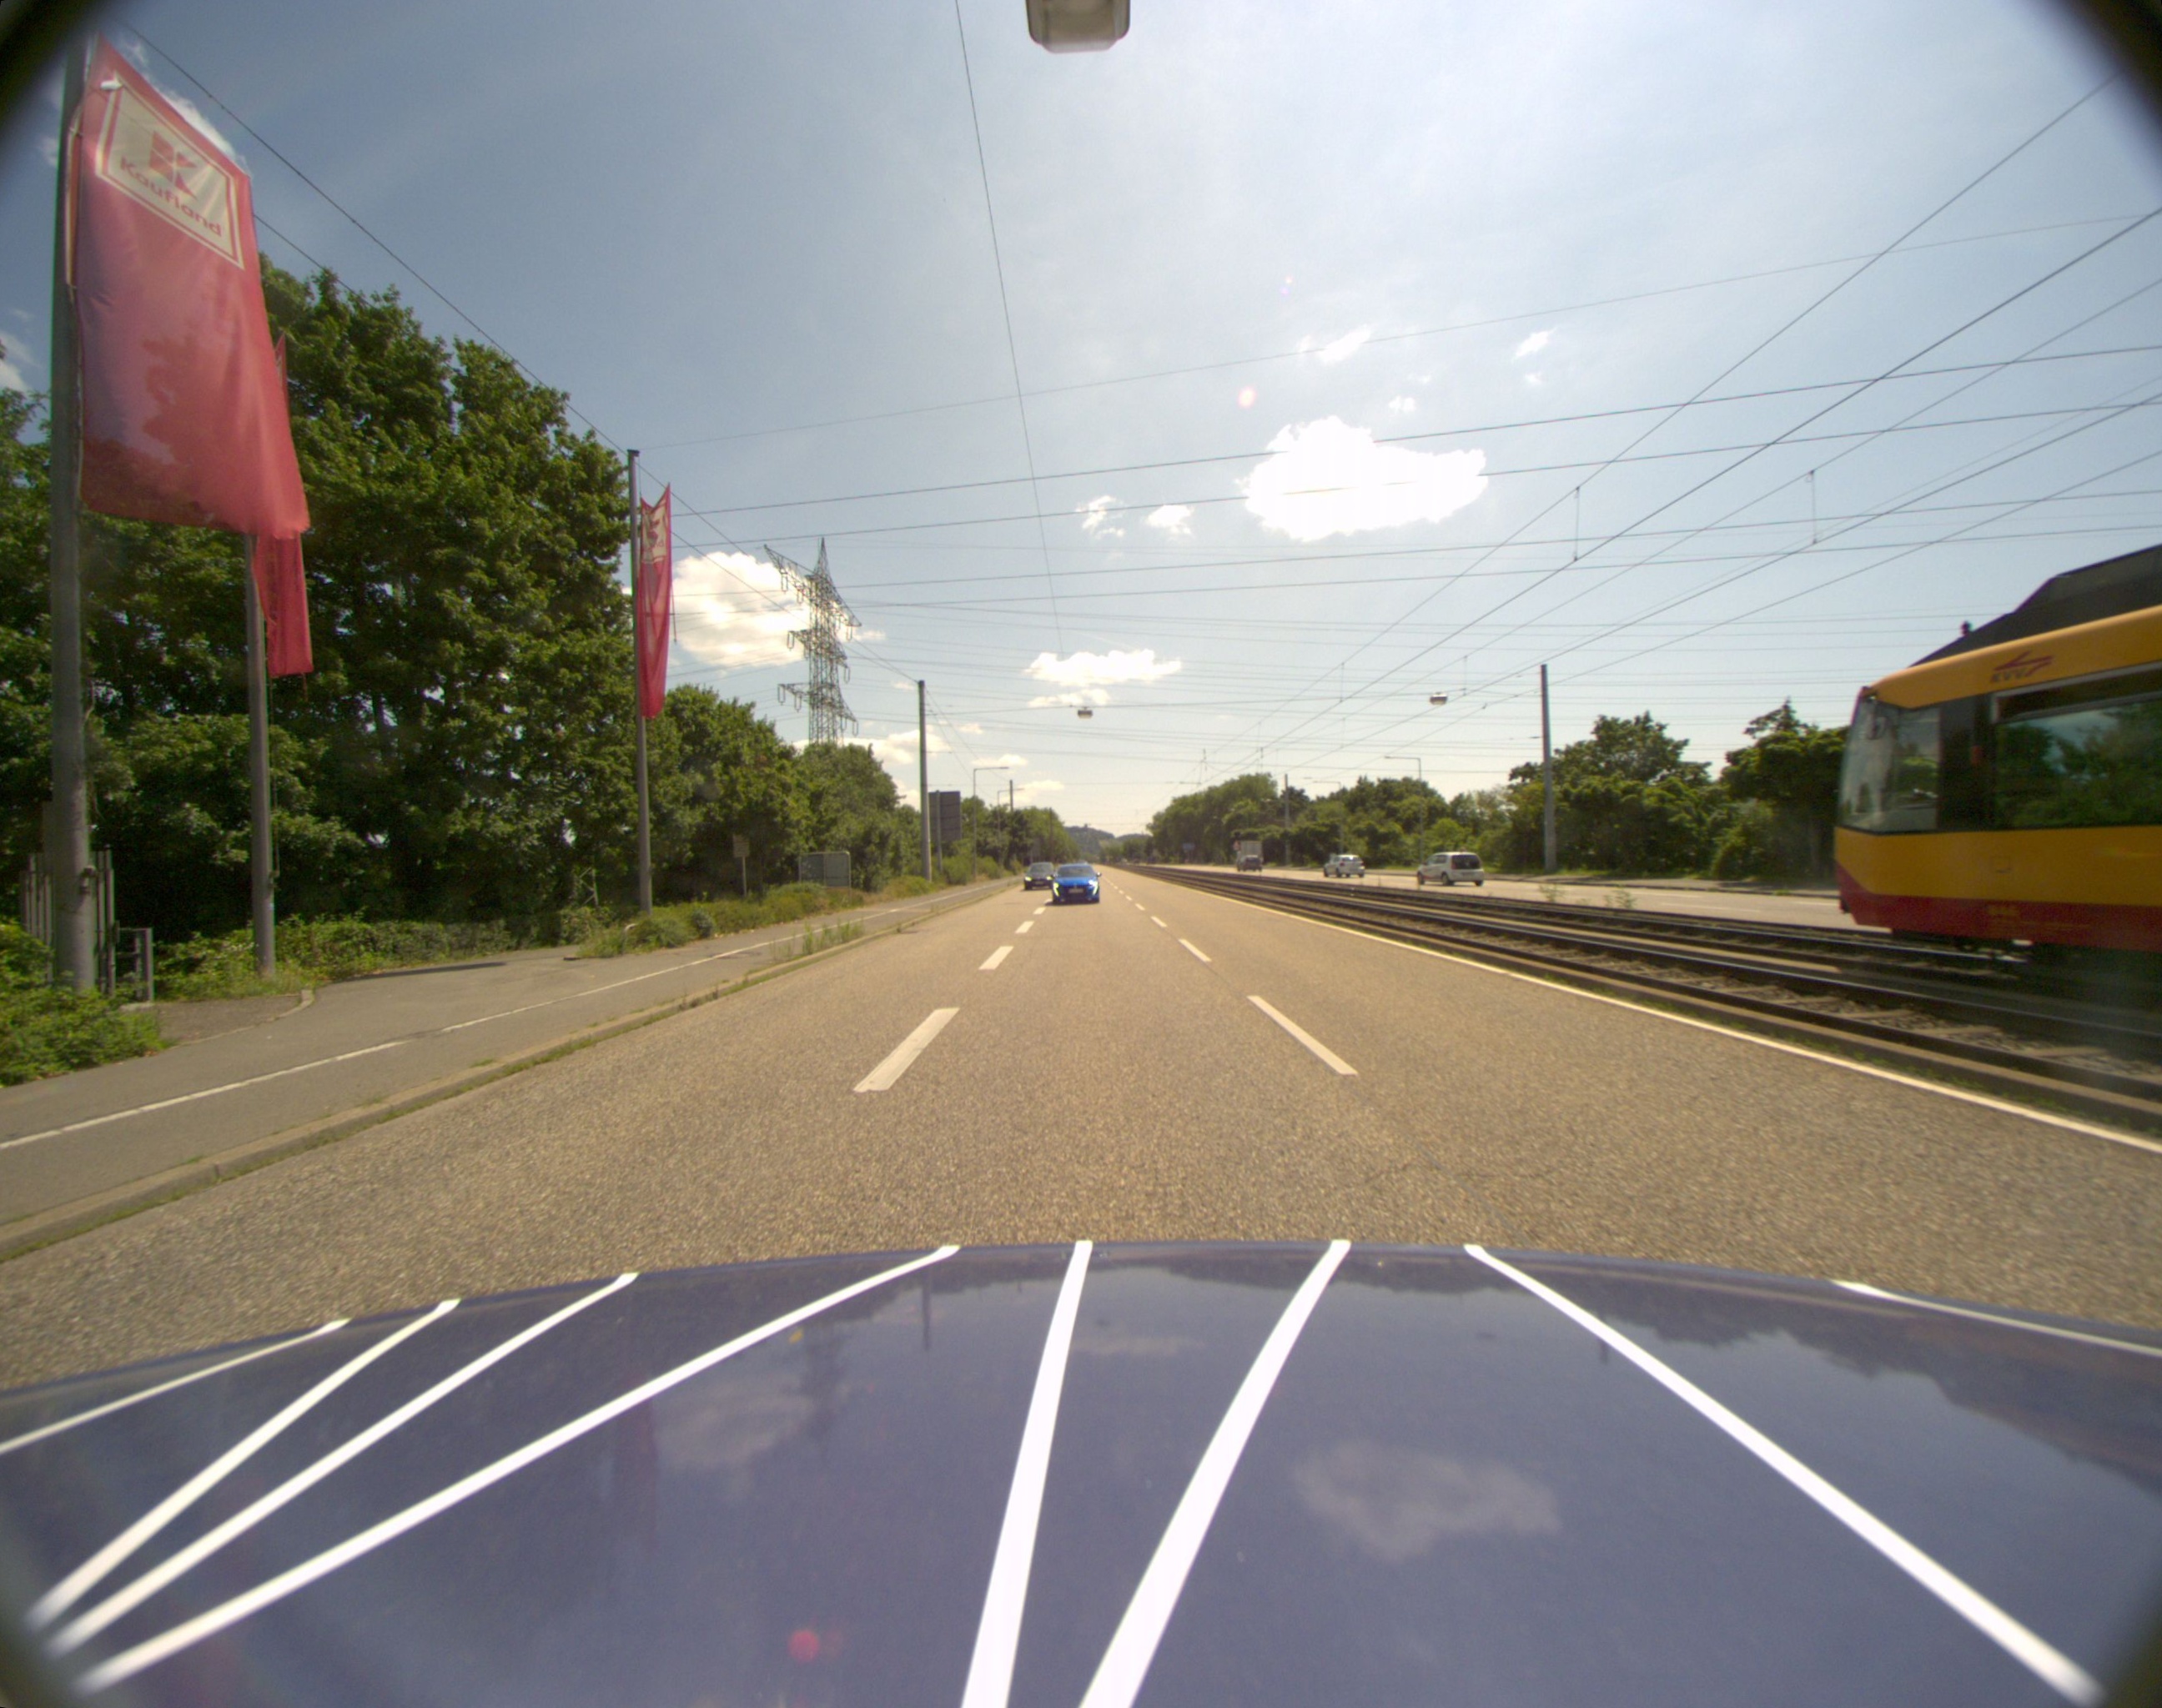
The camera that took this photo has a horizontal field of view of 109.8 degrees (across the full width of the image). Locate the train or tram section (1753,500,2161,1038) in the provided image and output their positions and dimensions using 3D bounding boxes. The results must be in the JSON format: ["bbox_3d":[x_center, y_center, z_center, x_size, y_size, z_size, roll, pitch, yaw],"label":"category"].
[{"bbox_3d":[10.011,-0.704,1.928,3.056,4.242,15.423,-1,0,1],"label":"train or tram section"}]

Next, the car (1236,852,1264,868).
[{"bbox_3d":[16.504,0.576,74.344,1.757,1.526,3.957,-1,0,-1],"label":"car"}]

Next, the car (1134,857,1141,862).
[{"bbox_3d":[18.277,1.830,245.943,1.806,1.615,4.211,0,0,0],"label":"car"}]

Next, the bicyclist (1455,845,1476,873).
[{"bbox_3d":[23.011,0.300,45.443,0.652,1.610,1.155,-3,0,4],"label":"bicyclist"}]

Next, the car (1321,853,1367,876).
[{"bbox_3d":[17.055,0.640,49.382,1.641,1.413,4.127,-1,0,1],"label":"car"}]

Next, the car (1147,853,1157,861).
[{"bbox_3d":[17.747,0.710,189.917,1.862,1.916,5.008,0,0,0],"label":"car"}]

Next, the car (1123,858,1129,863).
[{"bbox_3d":[14.688,2.037,249.353,1.806,1.615,4.494,0,0,0],"label":"car"}]

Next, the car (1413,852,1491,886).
[{"bbox_3d":[16.541,0.656,34.072,1.641,1.428,3.721,0,0,0],"label":"car"}]

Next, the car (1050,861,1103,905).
[{"bbox_3d":[-0.145,1.048,28.884,1.771,1.463,4.467,-3,0,0],"label":"car"}]

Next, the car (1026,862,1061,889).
[{"bbox_3d":[-2.141,1.215,44.506,1.771,1.422,4.000,-3,0,0],"label":"car"}]

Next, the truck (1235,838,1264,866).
[{"bbox_3d":[20.285,-0.236,91.547,2.255,3.217,6.042,-1,0,2],"label":"truck"}]
